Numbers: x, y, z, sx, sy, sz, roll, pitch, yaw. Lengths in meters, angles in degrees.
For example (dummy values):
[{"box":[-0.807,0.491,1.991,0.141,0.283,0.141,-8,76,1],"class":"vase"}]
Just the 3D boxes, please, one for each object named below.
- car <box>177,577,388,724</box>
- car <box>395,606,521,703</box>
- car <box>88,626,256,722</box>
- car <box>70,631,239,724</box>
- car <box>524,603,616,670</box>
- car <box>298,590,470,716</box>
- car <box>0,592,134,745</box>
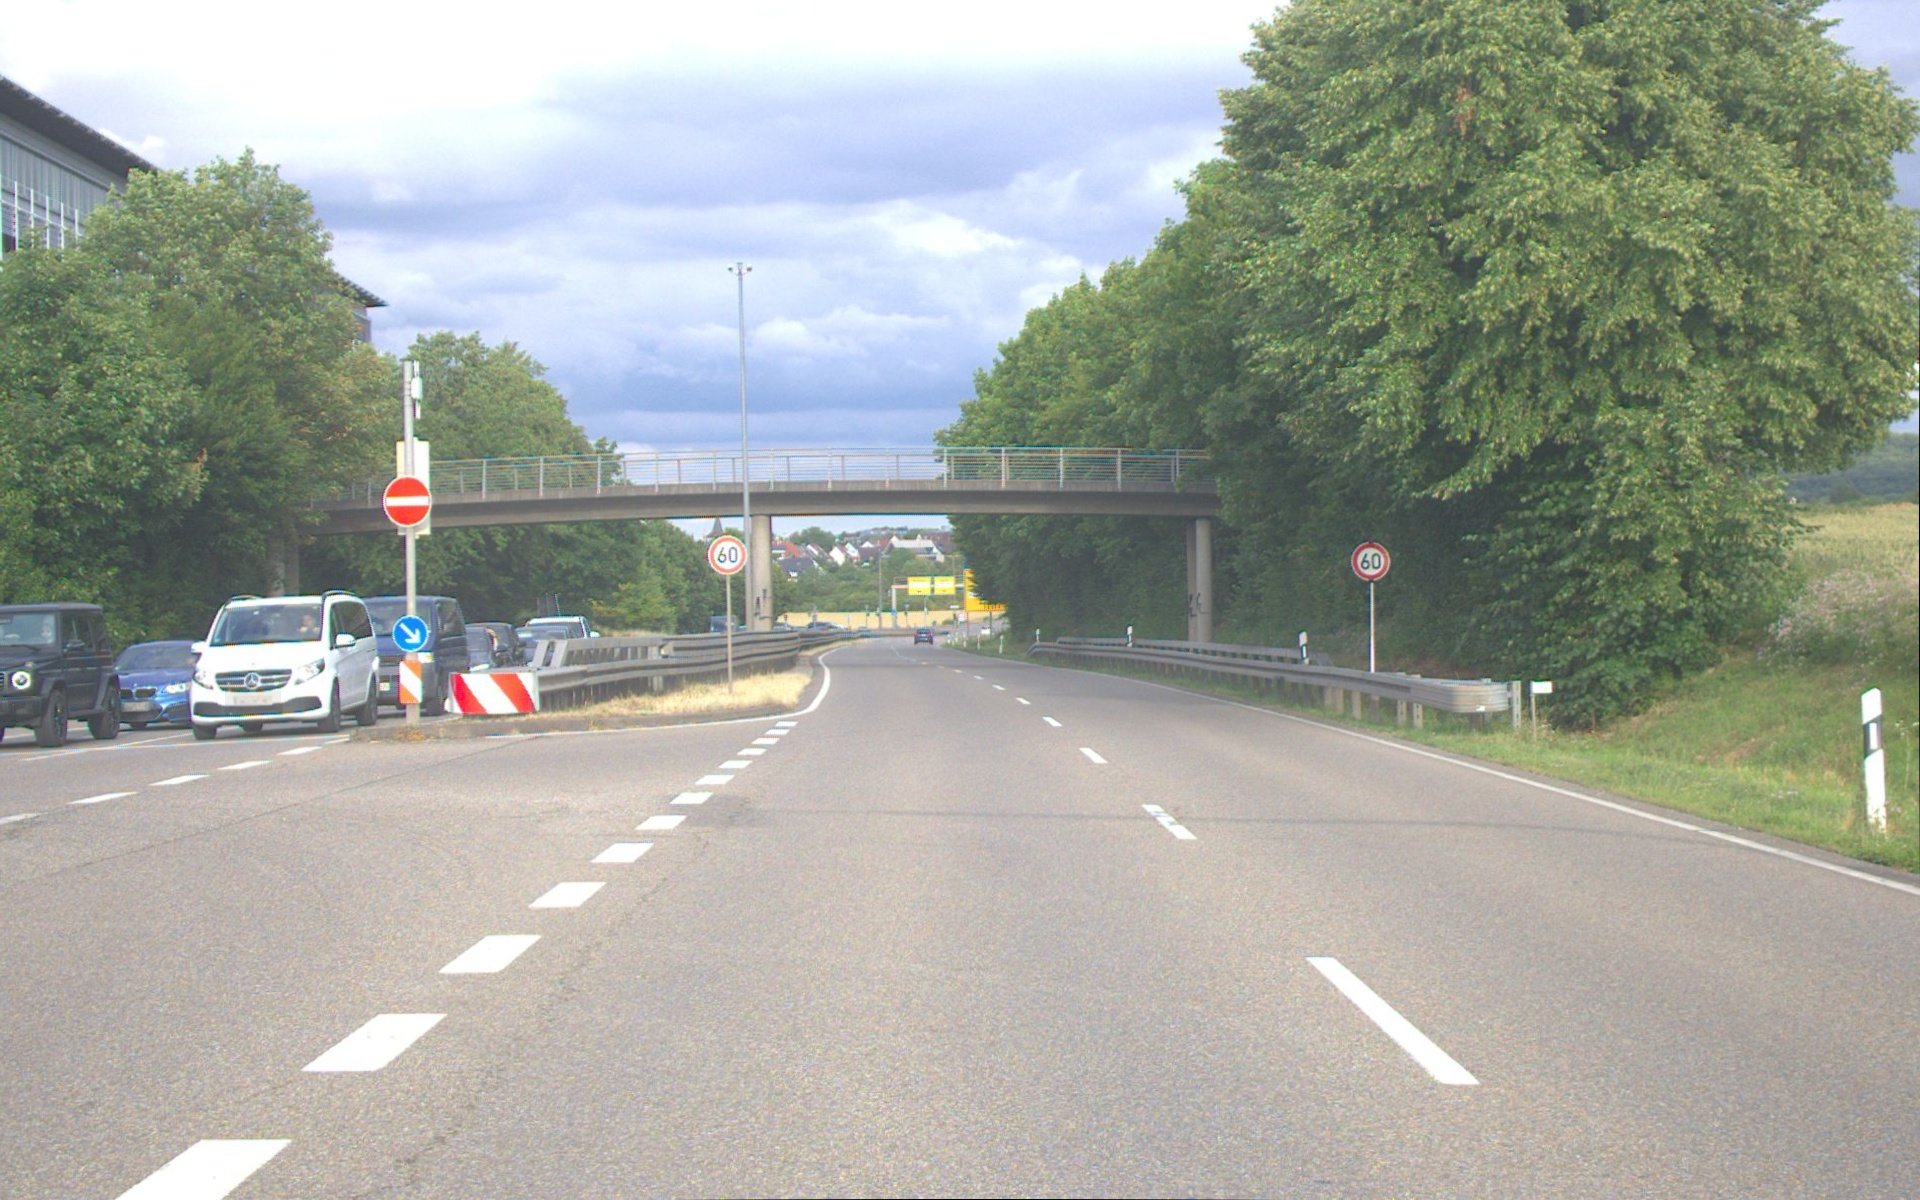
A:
[{"box":[-9.346,0.671,47.846,1.934,1.866,5.347,-2,0,-1],"class":"car"},{"box":[-9.261,0.973,63.665,1.712,1.583,4.555,-3,1,-2],"class":"car"},{"box":[-12.441,1.137,54.492,1.648,1.383,4.185,-2,0,0],"class":"car"},{"box":[-12.697,1.200,54.411,1.721,1.236,4.000,-4,0,-1],"class":"car"},{"box":[-9.450,0.873,83.614,1.822,1.579,4.791,0,0,-1],"class":"car"},{"box":[-9.217,0.827,55.400,1.898,1.910,5.050,-1,0,0],"class":"car"},{"box":[-12.998,0.929,47.628,1.934,1.983,5.091,-2,0,-1],"class":"car"}]
